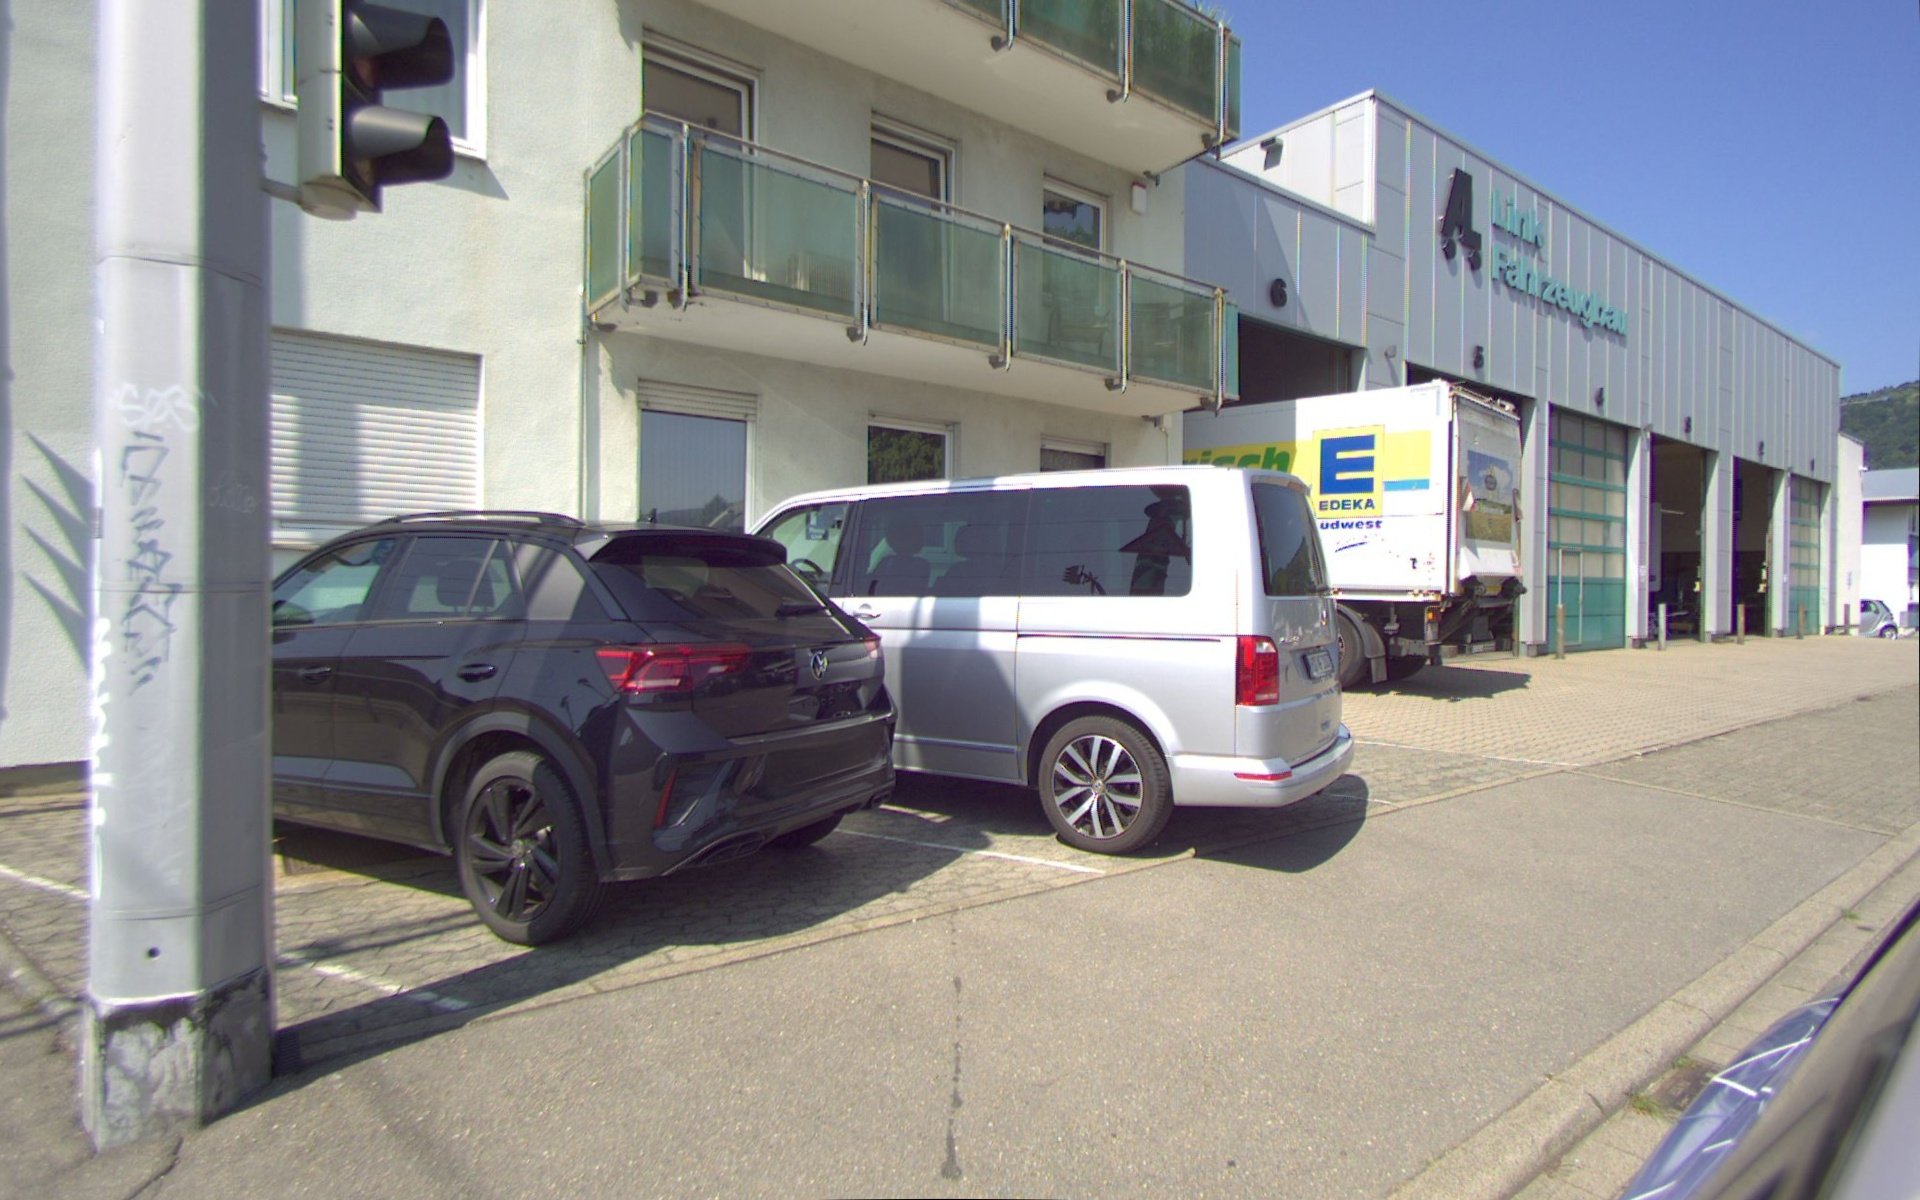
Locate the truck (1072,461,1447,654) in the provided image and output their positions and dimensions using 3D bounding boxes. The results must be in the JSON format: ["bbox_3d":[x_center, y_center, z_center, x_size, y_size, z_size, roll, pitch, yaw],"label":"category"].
[{"bbox_3d":[6.052,-0.866,22.033,2.433,3.446,7.975,0,2,-36],"label":"truck"}]

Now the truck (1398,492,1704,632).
[{"bbox_3d":[18.116,-1.151,31.640,2.575,3.829,7.860,0,1,-36],"label":"truck"}]

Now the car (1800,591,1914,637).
[{"bbox_3d":[31.941,0.489,36.088,2.774,1.553,1.310,1,-1,6],"label":"car"}]

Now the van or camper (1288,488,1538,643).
[{"bbox_3d":[10.532,-0.762,23.889,1.964,3.246,5.053,-1,1,-39],"label":"van or camper"}]

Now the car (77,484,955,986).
[{"bbox_3d":[-2.182,0.372,4.868,3.937,1.540,1.862,1,1,28],"label":"car"}]

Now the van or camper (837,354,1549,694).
[{"bbox_3d":[2.615,-0.972,16.320,2.735,3.739,11.609,0,1,-44],"label":"van or camper"}]

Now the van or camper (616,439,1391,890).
[{"bbox_3d":[0.121,0.206,6.401,4.523,1.932,1.977,2,1,33],"label":"van or camper"}]
